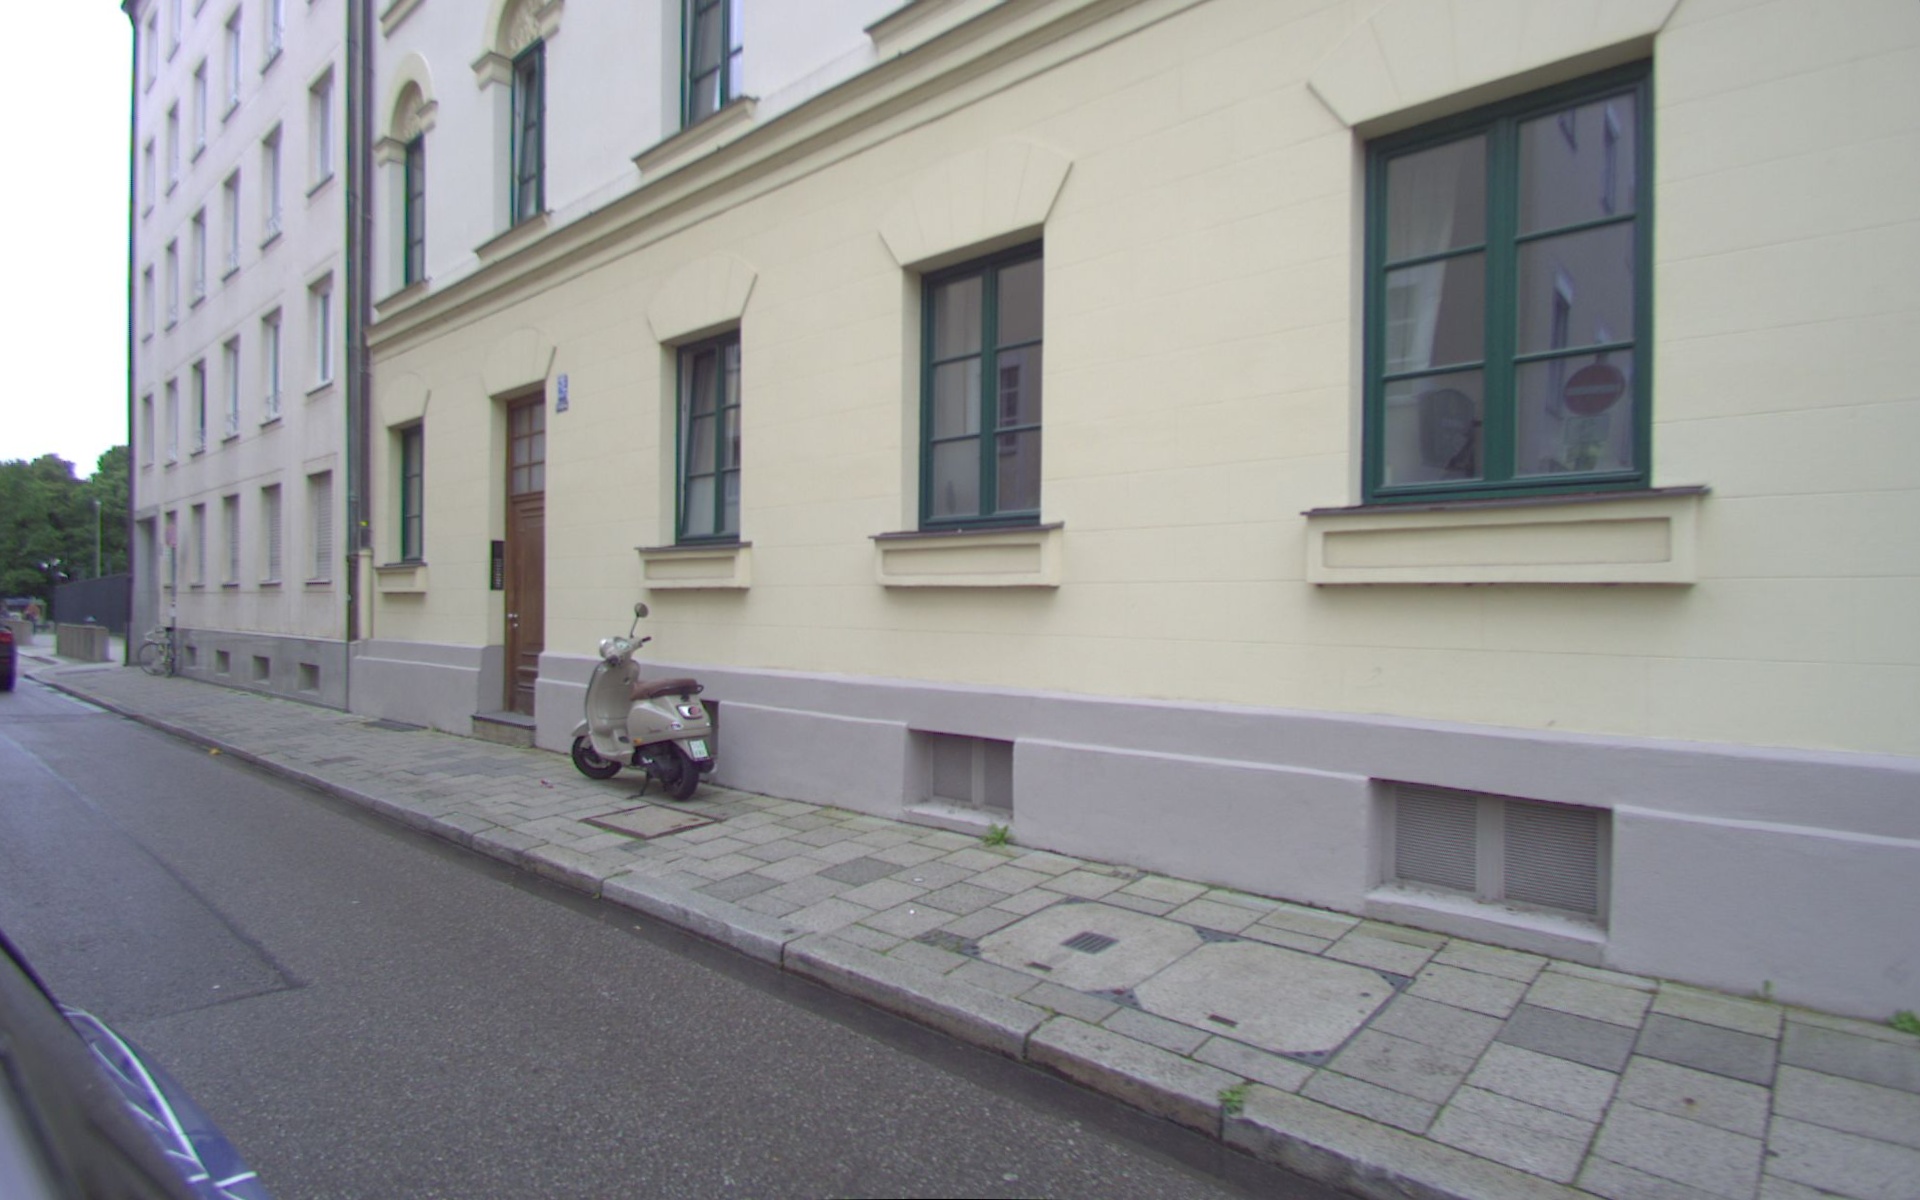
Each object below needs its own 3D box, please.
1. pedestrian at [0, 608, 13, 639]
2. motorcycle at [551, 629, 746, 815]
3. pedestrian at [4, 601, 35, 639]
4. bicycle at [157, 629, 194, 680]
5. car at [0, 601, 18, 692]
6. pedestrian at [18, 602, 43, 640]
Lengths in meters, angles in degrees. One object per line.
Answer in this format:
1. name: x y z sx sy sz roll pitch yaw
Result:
1. pedestrian: -48.260 1.175 50.943 0.767 1.551 0.934 -2 0 -40
2. motorcycle: -2.326 0.824 7.444 1.708 1.183 0.595 0 0 43
3. pedestrian: -52.037 1.108 55.991 1.117 2.120 1.209 -2 -2 44
4. bicycle: -15.667 1.067 20.201 1.574 0.951 0.316 -1 2 44
5. car: -18.815 0.823 18.624 3.999 1.606 1.793 -1 -2 42
6. pedestrian: -43.817 0.994 47.706 0.814 1.736 0.906 -2 0 -43
